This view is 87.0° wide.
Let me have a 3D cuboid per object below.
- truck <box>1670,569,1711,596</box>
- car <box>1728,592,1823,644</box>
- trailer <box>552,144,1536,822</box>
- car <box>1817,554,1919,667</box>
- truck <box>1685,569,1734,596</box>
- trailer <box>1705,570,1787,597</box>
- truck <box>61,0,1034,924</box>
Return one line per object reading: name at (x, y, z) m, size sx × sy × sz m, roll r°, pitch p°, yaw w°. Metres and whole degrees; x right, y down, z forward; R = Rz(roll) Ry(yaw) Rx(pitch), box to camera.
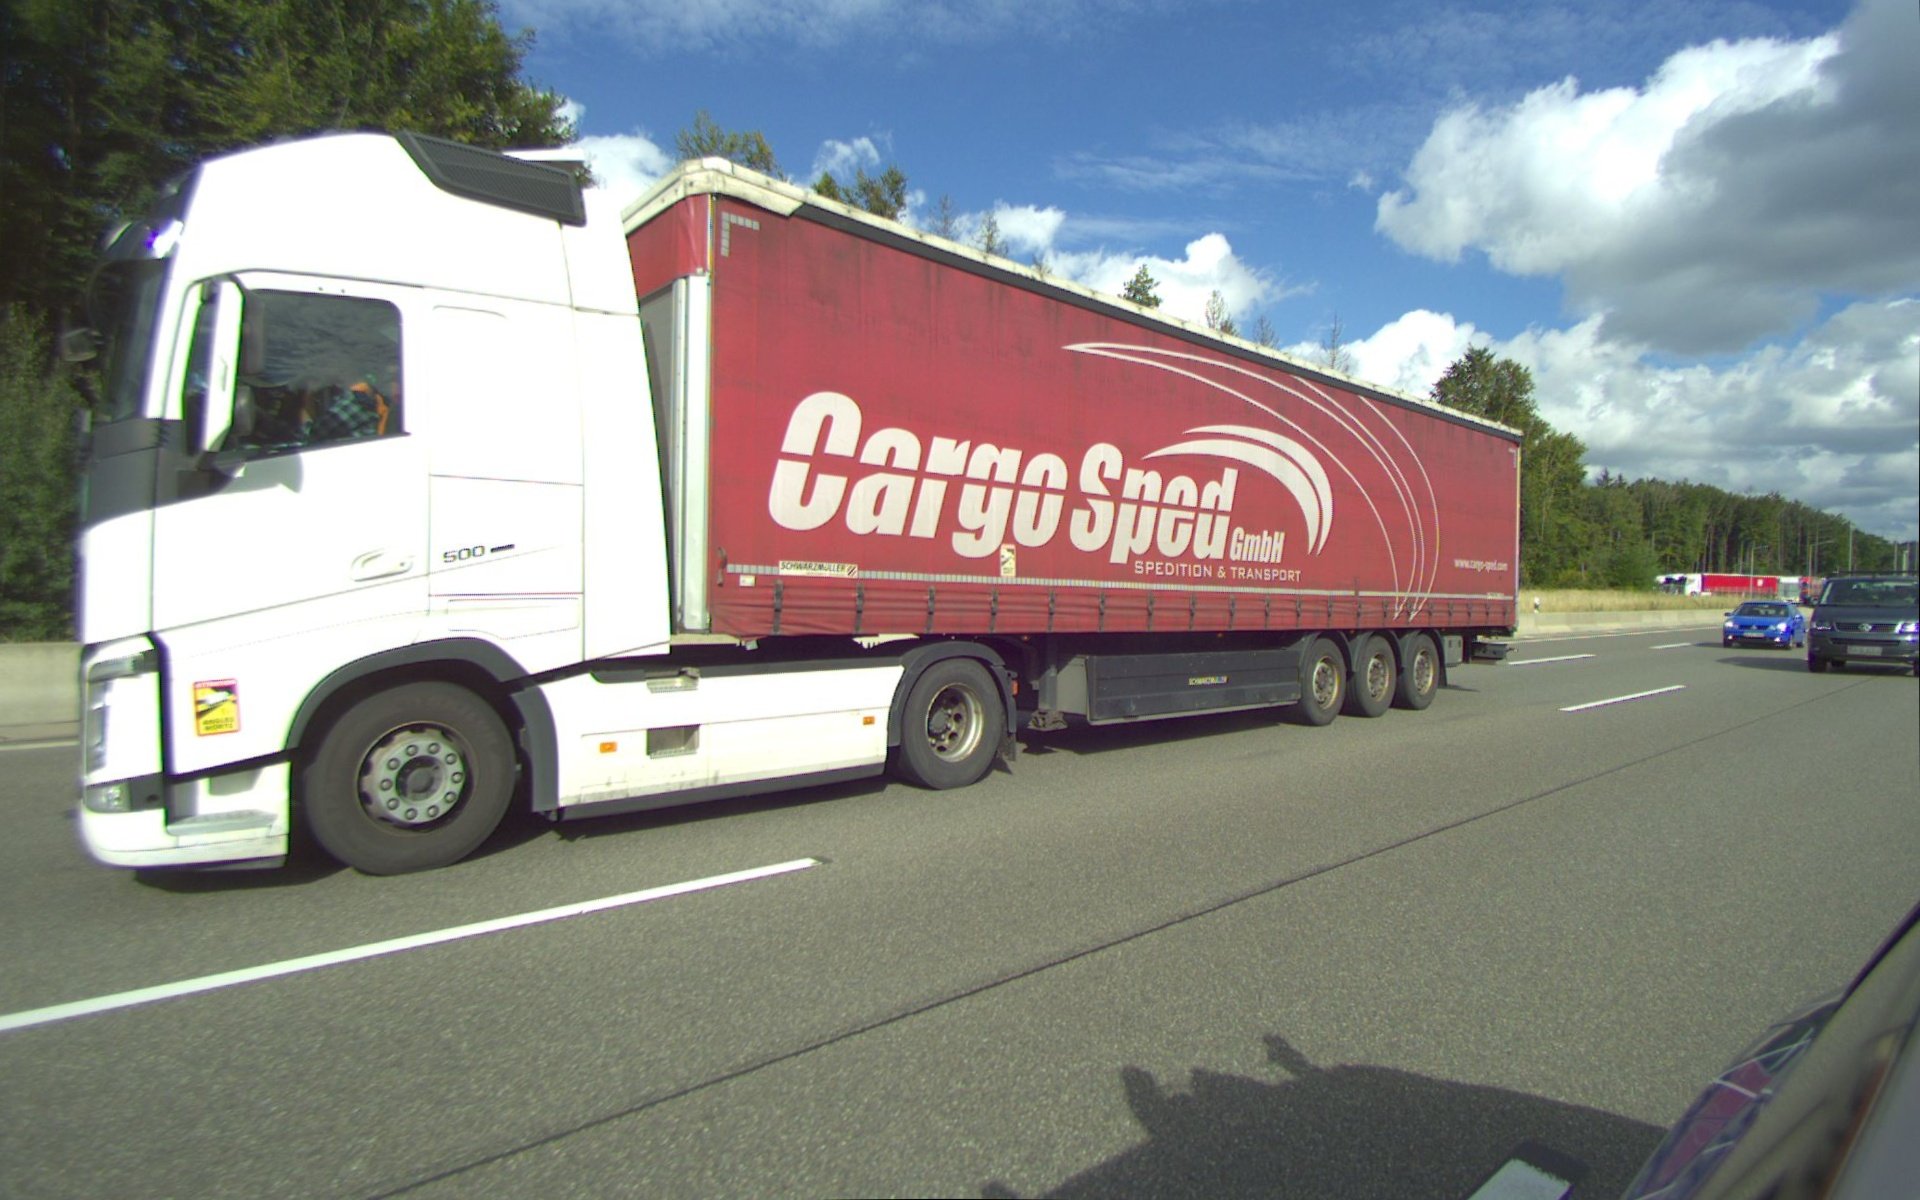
truck at (127.638, -3.103, 176.856) m, size 5.029 × 4.564 × 2.895 m, roll 1°, pitch 1°, yaw 3°
car at (24.815, 0.513, 30.758) m, size 3.931 × 1.460 × 1.652 m, roll 0°, pitch 1°, yaw -42°
trailer at (2.641, -0.734, 11.655) m, size 13.476 × 4.096 × 2.778 m, roll 0°, pitch 1°, yaw -42°
car at (19.690, 0.193, 21.284) m, size 4.846 × 2.136 × 1.852 m, roll 0°, pitch 0°, yaw -41°
truck at (128.092, -3.011, 172.974) m, size 5.987 × 4.564 × 2.878 m, roll 1°, pitch 0°, yaw 4°
trailer at (133.961, -2.879, 172.543) m, size 11.180 × 4.429 × 2.842 m, roll 1°, pitch 0°, yaw 5°
truck at (-2.462, -0.743, 7.092) m, size 5.673 × 4.096 × 2.778 m, roll 0°, pitch 0°, yaw -42°
